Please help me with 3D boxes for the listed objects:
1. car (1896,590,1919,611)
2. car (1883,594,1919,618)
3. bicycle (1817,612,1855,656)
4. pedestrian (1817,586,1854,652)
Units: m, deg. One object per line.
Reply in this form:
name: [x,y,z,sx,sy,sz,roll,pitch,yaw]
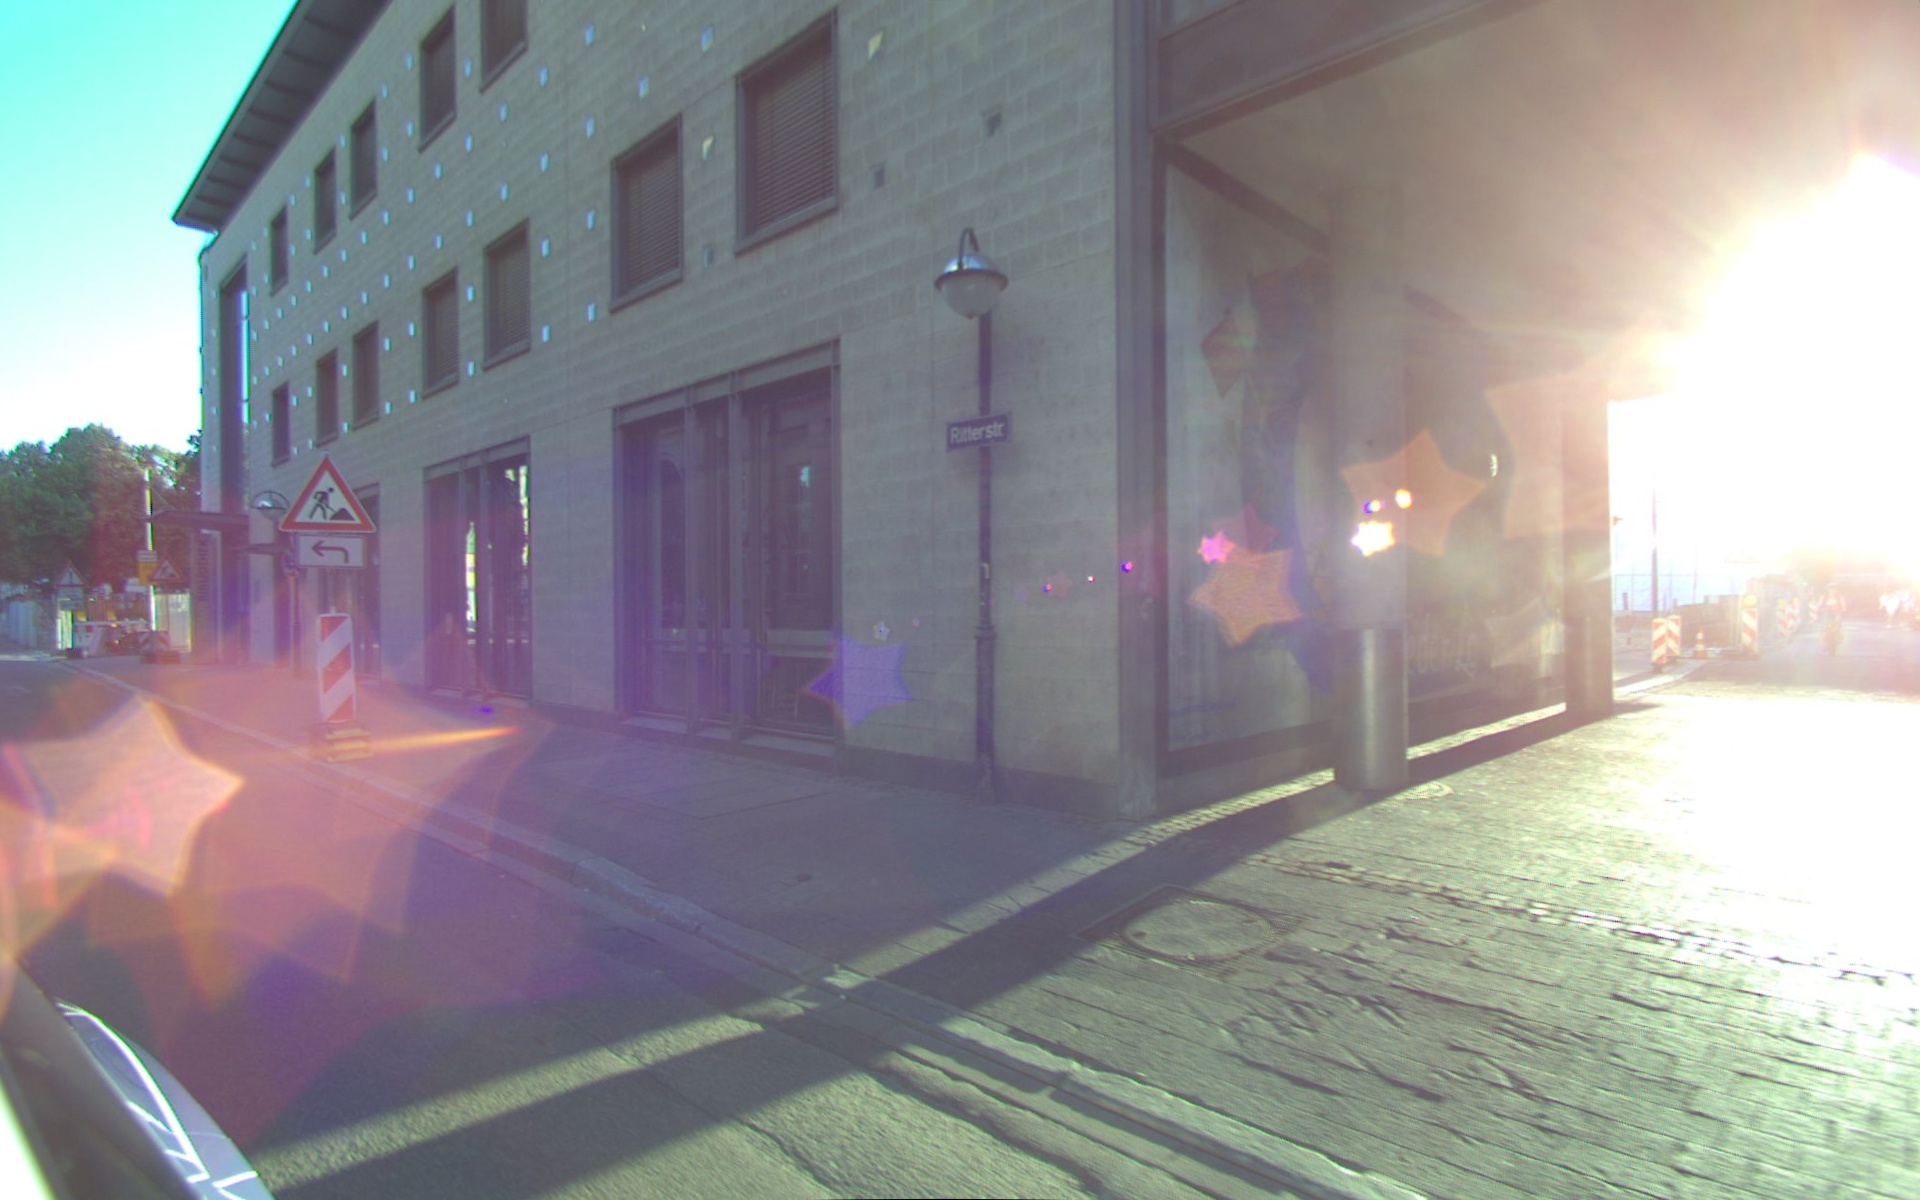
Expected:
car: [67.921,0.047,72.098,1.716,1.426,3.859,-2,-2,42]
car: [58.515,0.385,62.789,1.716,1.426,3.859,-2,-2,42]
bicycle: [22.252,0.849,25.719,0.603,1.070,1.997,-1,-1,38]
pedestrian: [22.247,0.478,25.728,0.653,1.646,0.793,-1,-1,38]
